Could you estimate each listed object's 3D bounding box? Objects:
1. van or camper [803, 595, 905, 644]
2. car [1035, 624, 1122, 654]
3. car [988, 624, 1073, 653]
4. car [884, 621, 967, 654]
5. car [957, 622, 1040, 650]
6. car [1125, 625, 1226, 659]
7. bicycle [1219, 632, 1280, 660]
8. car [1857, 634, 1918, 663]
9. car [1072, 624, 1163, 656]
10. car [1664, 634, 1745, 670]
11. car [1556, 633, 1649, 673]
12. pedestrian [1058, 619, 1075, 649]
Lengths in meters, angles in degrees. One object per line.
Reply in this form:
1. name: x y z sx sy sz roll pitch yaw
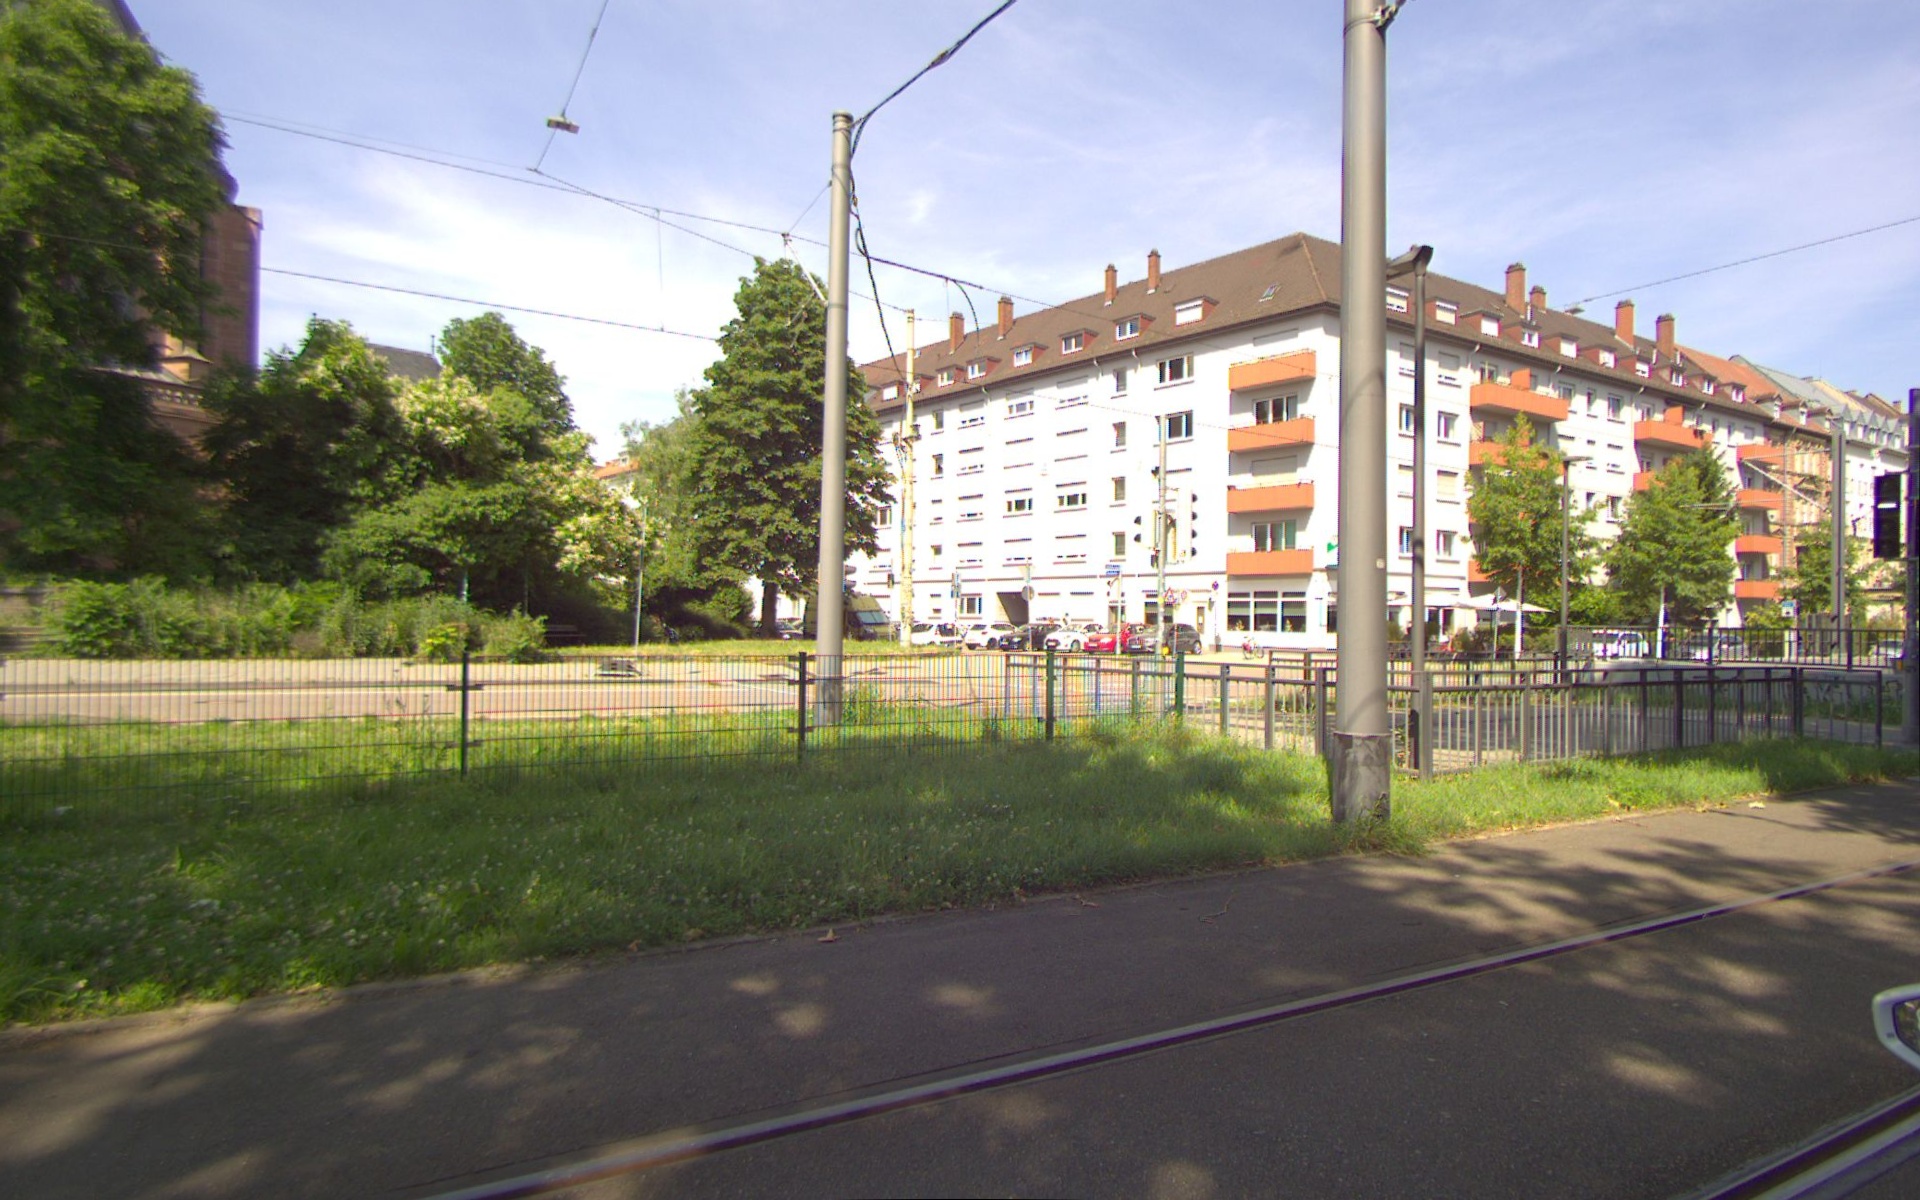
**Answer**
1. van or camper: -5.442 0.983 50.909 2.228 2.360 5.704 2 -1 -42
2. car: 5.894 1.906 49.579 4.129 1.425 1.917 2 -2 -38
3. car: 3.606 1.950 51.145 4.129 1.425 1.917 2 -1 -38
4. car: -1.625 1.712 46.516 3.702 1.425 1.823 0 -2 44
5. car: 2.073 1.926 53.447 4.129 1.425 1.917 2 -1 -38
6. car: 9.601 1.860 44.666 4.598 1.394 1.821 2 -1 -36
7. bicycle: 12.360 1.942 42.798 2.779 1.152 0.905 2 -1 -34
8. car: 50.942 2.633 55.143 3.961 1.518 1.758 2 -1 -36
9. car: 7.435 1.877 47.261 4.129 1.425 1.917 2 -2 -38
10. car: 32.760 2.284 44.194 3.961 1.518 1.759 2 -3 -36
11. car: 25.490 2.069 39.829 3.961 1.518 1.759 2 -3 -36
12. pedestrian: 5.768 1.852 54.385 0.679 1.593 0.544 0 -1 36
